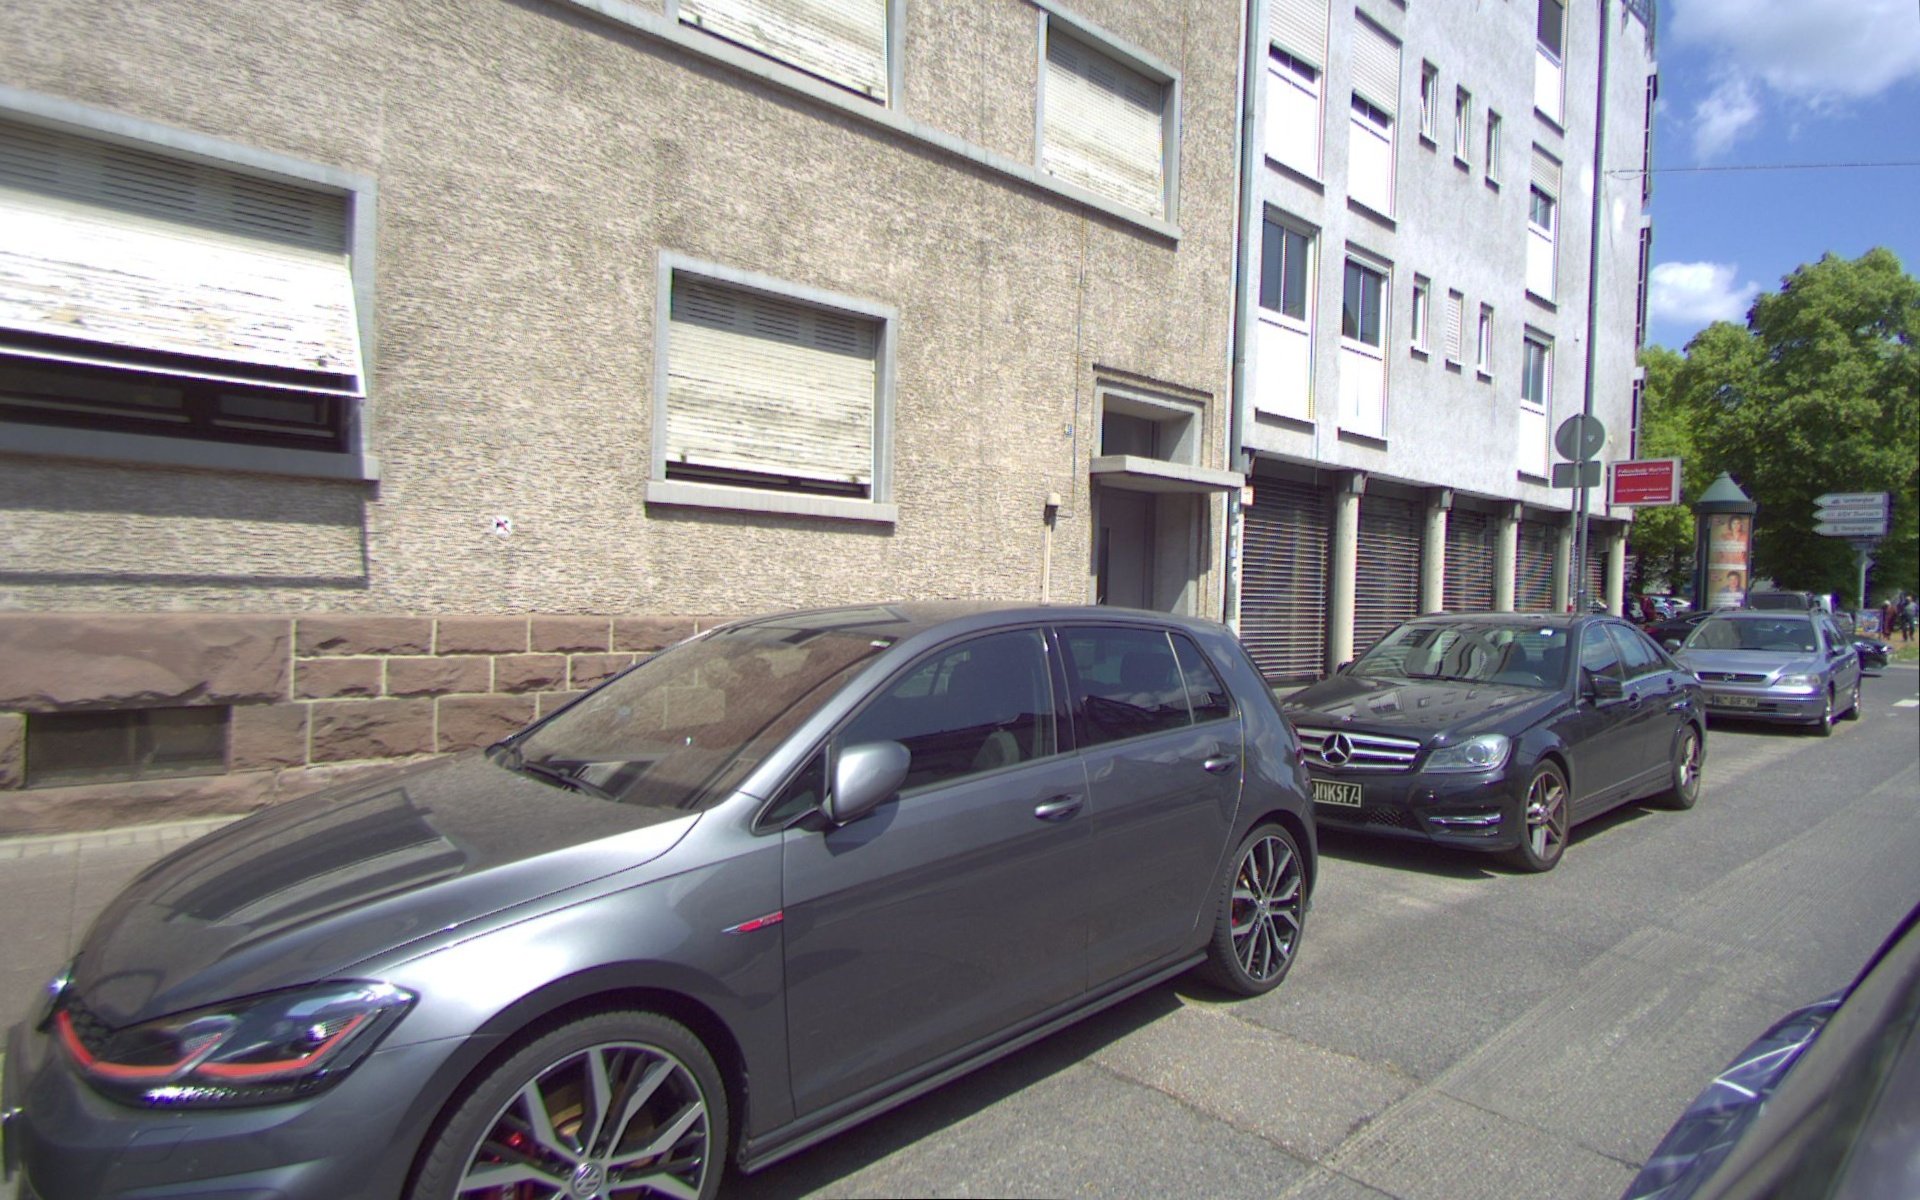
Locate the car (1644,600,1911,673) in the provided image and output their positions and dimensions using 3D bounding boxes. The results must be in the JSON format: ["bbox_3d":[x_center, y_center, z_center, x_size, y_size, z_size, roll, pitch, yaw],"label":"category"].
[{"bbox_3d":[18.899,0.766,23.572,1.966,1.382,4.588,1,1,-42],"label":"car"}]

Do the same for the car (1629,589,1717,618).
[{"bbox_3d":[43.260,0.203,61.464,1.772,1.491,3.998,0,3,-39],"label":"car"}]

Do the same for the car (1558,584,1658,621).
[{"bbox_3d":[33.957,0.103,53.096,1.772,1.682,3.998,0,3,-39],"label":"car"}]

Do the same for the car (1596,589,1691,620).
[{"bbox_3d":[37.889,0.231,56.159,1.772,1.491,3.998,0,3,-39],"label":"car"}]

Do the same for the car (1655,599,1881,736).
[{"bbox_3d":[10.490,0.739,13.033,4.072,1.473,1.679,0,0,-43],"label":"car"}]

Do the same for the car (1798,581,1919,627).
[{"bbox_3d":[47.204,0.169,53.177,2.069,2.305,4.611,1,0,-40],"label":"car"}]

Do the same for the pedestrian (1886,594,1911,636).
[{"bbox_3d":[37.158,0.588,40.066,0.724,1.613,0.618,0,1,-42],"label":"pedestrian"}]

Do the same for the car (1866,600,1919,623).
[{"bbox_3d":[60.208,0.740,64.324,3.833,1.375,1.606,2,1,41],"label":"car"}]

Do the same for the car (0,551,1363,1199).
[{"bbox_3d":[-0.406,0.638,3.313,3.980,1.437,1.653,0,2,-43],"label":"car"}]

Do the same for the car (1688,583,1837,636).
[{"bbox_3d":[29.426,0.312,37.174,1.982,1.772,3.994,0,2,-41],"label":"car"}]

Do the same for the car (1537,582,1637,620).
[{"bbox_3d":[31.911,0.029,51.599,1.652,1.660,3.994,0,3,-42],"label":"car"}]

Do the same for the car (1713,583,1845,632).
[{"bbox_3d":[31.390,0.248,38.866,1.637,1.688,3.766,0,2,-45],"label":"car"}]

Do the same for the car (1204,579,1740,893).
[{"bbox_3d":[3.748,0.666,7.020,4.359,1.491,1.715,1,2,-40],"label":"car"}]

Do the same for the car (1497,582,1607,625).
[{"bbox_3d":[26.951,0.108,46.174,1.673,1.699,3.992,0,3,-44],"label":"car"}]

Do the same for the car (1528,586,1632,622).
[{"bbox_3d":[30.293,0.141,49.505,1.652,1.501,3.994,0,3,-42],"label":"car"}]

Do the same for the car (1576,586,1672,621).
[{"bbox_3d":[35.974,0.159,54.900,1.772,1.605,3.998,0,3,-39],"label":"car"}]

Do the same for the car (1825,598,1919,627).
[{"bbox_3d":[50.202,0.642,55.239,1.778,1.512,4.331,1,0,-42],"label":"car"}]

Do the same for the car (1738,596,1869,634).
[{"bbox_3d":[35.051,0.581,42.124,1.777,1.415,3.993,0,1,-42],"label":"car"}]

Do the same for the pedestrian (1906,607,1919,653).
[{"bbox_3d":[37.538,1.162,39.641,0.724,1.786,0.618,0,1,-42],"label":"pedestrian"}]

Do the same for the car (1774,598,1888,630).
[{"bbox_3d":[42.457,0.655,49.378,1.686,1.491,3.996,0,0,-39],"label":"car"}]
